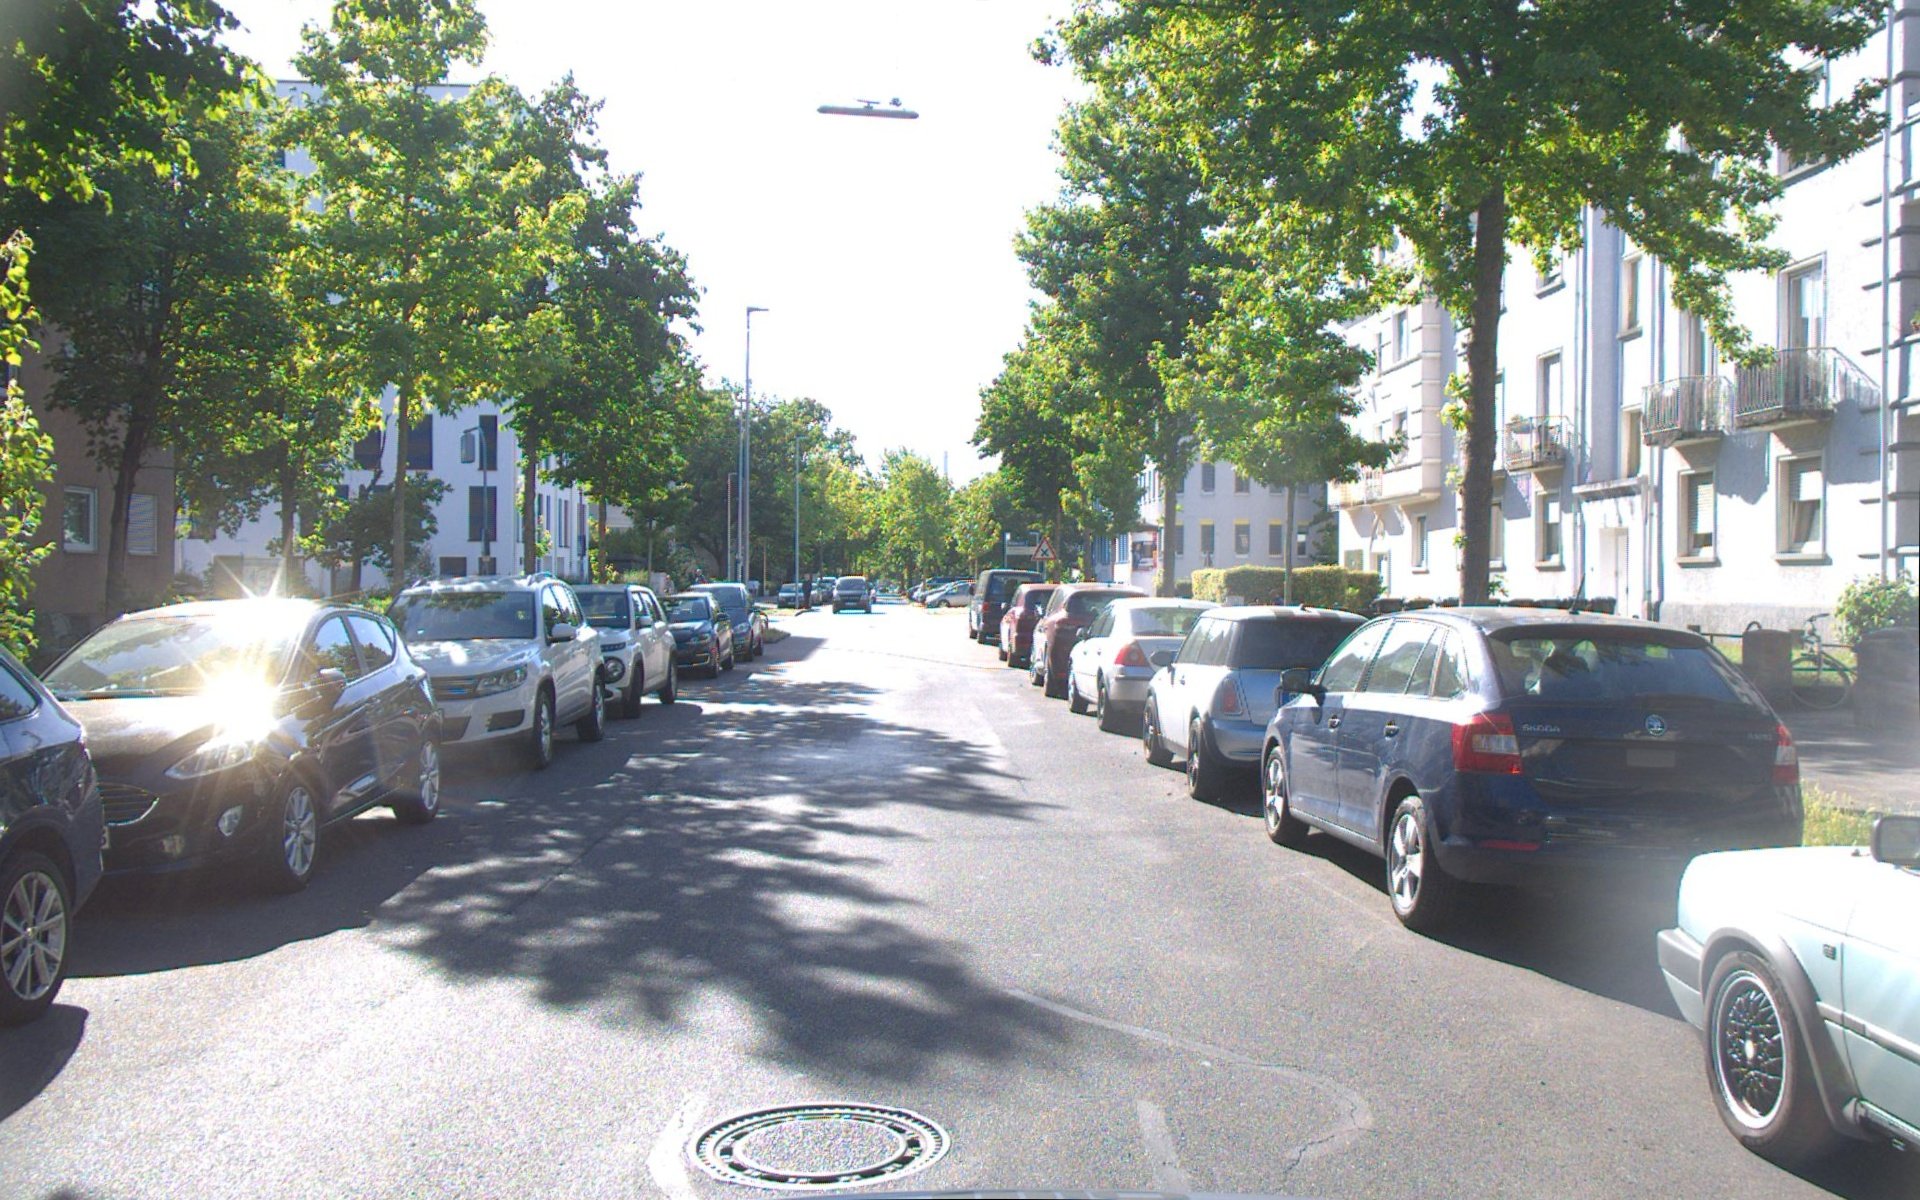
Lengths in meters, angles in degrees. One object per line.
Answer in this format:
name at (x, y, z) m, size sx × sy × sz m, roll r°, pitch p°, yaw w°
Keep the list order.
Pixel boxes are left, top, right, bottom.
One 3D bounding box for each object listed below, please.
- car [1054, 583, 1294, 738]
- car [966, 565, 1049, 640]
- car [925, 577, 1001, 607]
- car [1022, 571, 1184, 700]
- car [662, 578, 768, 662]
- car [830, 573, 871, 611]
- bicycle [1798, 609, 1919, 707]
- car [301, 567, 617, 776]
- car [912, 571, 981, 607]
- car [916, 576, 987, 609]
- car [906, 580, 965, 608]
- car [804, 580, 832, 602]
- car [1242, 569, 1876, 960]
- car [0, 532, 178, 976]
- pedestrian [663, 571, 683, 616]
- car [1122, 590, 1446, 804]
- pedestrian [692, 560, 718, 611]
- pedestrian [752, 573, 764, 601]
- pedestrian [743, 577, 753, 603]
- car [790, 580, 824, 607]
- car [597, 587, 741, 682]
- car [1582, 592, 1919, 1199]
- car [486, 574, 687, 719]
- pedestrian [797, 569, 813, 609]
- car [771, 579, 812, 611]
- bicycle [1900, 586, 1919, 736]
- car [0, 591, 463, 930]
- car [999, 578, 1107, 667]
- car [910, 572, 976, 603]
car at (2.352, 0.618, 19.449) m, size 1.860 × 1.500 × 4.696 m, roll 3°, pitch 0°, yaw -4°
car at (1.258, 0.044, 45.967) m, size 1.931 × 1.983 × 4.982 m, roll 0°, pitch 0°, yaw -3°
car at (0.143, -0.426, 88.283) m, size 3.910 × 1.615 × 1.725 m, roll 0°, pitch 1°, yaw -7°
car at (2.107, 0.470, 25.508) m, size 1.869 × 1.728 × 4.311 m, roll 3°, pitch 1°, yaw -3°
car at (-5.178, 0.382, 35.417) m, size 1.803 × 1.623 × 4.260 m, roll -2°, pitch 1°, yaw -3°
car at (-4.923, -0.378, 73.775) m, size 1.748 × 1.637 × 3.996 m, roll 0°, pitch 0°, yaw -5°
bicycle at (10.149, 0.626, 18.228) m, size 1.547 × 0.988 × 0.501 m, roll -3°, pitch 1°, yaw -2°
car at (-4.382, 0.539, 15.149) m, size 1.775 × 1.624 × 4.231 m, roll 0°, pitch 1°, yaw -3°
car at (-0.787, -0.658, 96.291) m, size 3.909 × 2.049 × 1.998 m, roll 0°, pitch 1°, yaw -5°
car at (-0.508, -0.458, 93.476) m, size 3.909 × 1.837 × 1.888 m, roll 0°, pitch 1°, yaw -5°
car at (-1.768, -0.441, 116.876) m, size 3.914 × 1.914 × 1.996 m, roll 1°, pitch 0°, yaw -10°
car at (-10.815, -0.713, 126.417) m, size 1.953 × 1.612 × 3.998 m, roll 0°, pitch 1°, yaw -2°
car at (2.829, 0.639, 8.970) m, size 1.658 × 1.567 × 4.439 m, roll 1°, pitch 1°, yaw -2°
car at (-4.070, 0.533, 4.783) m, size 1.793 × 1.478 × 4.120 m, roll -1°, pitch 1°, yaw -3°
pedestrian at (-13.096, -0.300, 75.510) m, size 0.842 × 2.049 × 0.980 m, roll 0°, pitch 0°, yaw -4°
car at (2.500, 0.682, 13.677) m, size 1.753 × 1.478 × 3.780 m, roll 1°, pitch 0°, yaw -3°
pedestrian at (-10.333, -0.596, 67.057) m, size 0.841 × 2.049 × 0.982 m, roll 0°, pitch 0°, yaw 6°
pedestrian at (-15.089, -0.987, 123.546) m, size 0.843 × 2.049 × 0.979 m, roll 0°, pitch 0°, yaw -9°
pedestrian at (-15.356, -0.724, 119.717) m, size 0.748 × 1.934 × 0.817 m, roll 0°, pitch 0°, yaw -9°
car at (-9.664, -0.427, 104.670) m, size 1.953 × 1.612 × 3.998 m, roll 0°, pitch 1°, yaw -2°
car at (-5.068, 0.550, 29.349) m, size 1.954 × 1.478 × 4.260 m, roll -2°, pitch 1°, yaw -3°
car at (3.052, 0.784, 3.336) m, size 1.716 × 1.479 × 4.460 m, roll 3°, pitch 1°, yaw -2°
car at (-4.543, 0.506, 20.655) m, size 1.676 × 1.571 × 3.929 m, roll -2°, pitch 1°, yaw -2°
pedestrian at (-7.612, -0.532, 81.302) m, size 0.702 × 1.933 × 0.834 m, roll 0°, pitch 0°, yaw -12°
car at (-9.061, -0.288, 89.400) m, size 1.953 × 1.700 × 3.998 m, roll 0°, pitch 1°, yaw -2°
bicycle at (8.690, 0.533, 13.290) m, size 0.822 × 1.279 × 2.228 m, roll 1°, pitch 0°, yaw -6°
car at (-4.194, 0.717, 9.362) m, size 1.727 × 1.469 × 3.906 m, roll -2°, pitch 1°, yaw -3°
car at (1.835, 0.403, 33.761) m, size 1.797 × 1.628 × 4.157 m, roll 2°, pitch 1°, yaw -2°
car at (-1.038, -0.784, 100.780) m, size 3.909 × 1.862 × 1.998 m, roll 0°, pitch 1°, yaw -5°
